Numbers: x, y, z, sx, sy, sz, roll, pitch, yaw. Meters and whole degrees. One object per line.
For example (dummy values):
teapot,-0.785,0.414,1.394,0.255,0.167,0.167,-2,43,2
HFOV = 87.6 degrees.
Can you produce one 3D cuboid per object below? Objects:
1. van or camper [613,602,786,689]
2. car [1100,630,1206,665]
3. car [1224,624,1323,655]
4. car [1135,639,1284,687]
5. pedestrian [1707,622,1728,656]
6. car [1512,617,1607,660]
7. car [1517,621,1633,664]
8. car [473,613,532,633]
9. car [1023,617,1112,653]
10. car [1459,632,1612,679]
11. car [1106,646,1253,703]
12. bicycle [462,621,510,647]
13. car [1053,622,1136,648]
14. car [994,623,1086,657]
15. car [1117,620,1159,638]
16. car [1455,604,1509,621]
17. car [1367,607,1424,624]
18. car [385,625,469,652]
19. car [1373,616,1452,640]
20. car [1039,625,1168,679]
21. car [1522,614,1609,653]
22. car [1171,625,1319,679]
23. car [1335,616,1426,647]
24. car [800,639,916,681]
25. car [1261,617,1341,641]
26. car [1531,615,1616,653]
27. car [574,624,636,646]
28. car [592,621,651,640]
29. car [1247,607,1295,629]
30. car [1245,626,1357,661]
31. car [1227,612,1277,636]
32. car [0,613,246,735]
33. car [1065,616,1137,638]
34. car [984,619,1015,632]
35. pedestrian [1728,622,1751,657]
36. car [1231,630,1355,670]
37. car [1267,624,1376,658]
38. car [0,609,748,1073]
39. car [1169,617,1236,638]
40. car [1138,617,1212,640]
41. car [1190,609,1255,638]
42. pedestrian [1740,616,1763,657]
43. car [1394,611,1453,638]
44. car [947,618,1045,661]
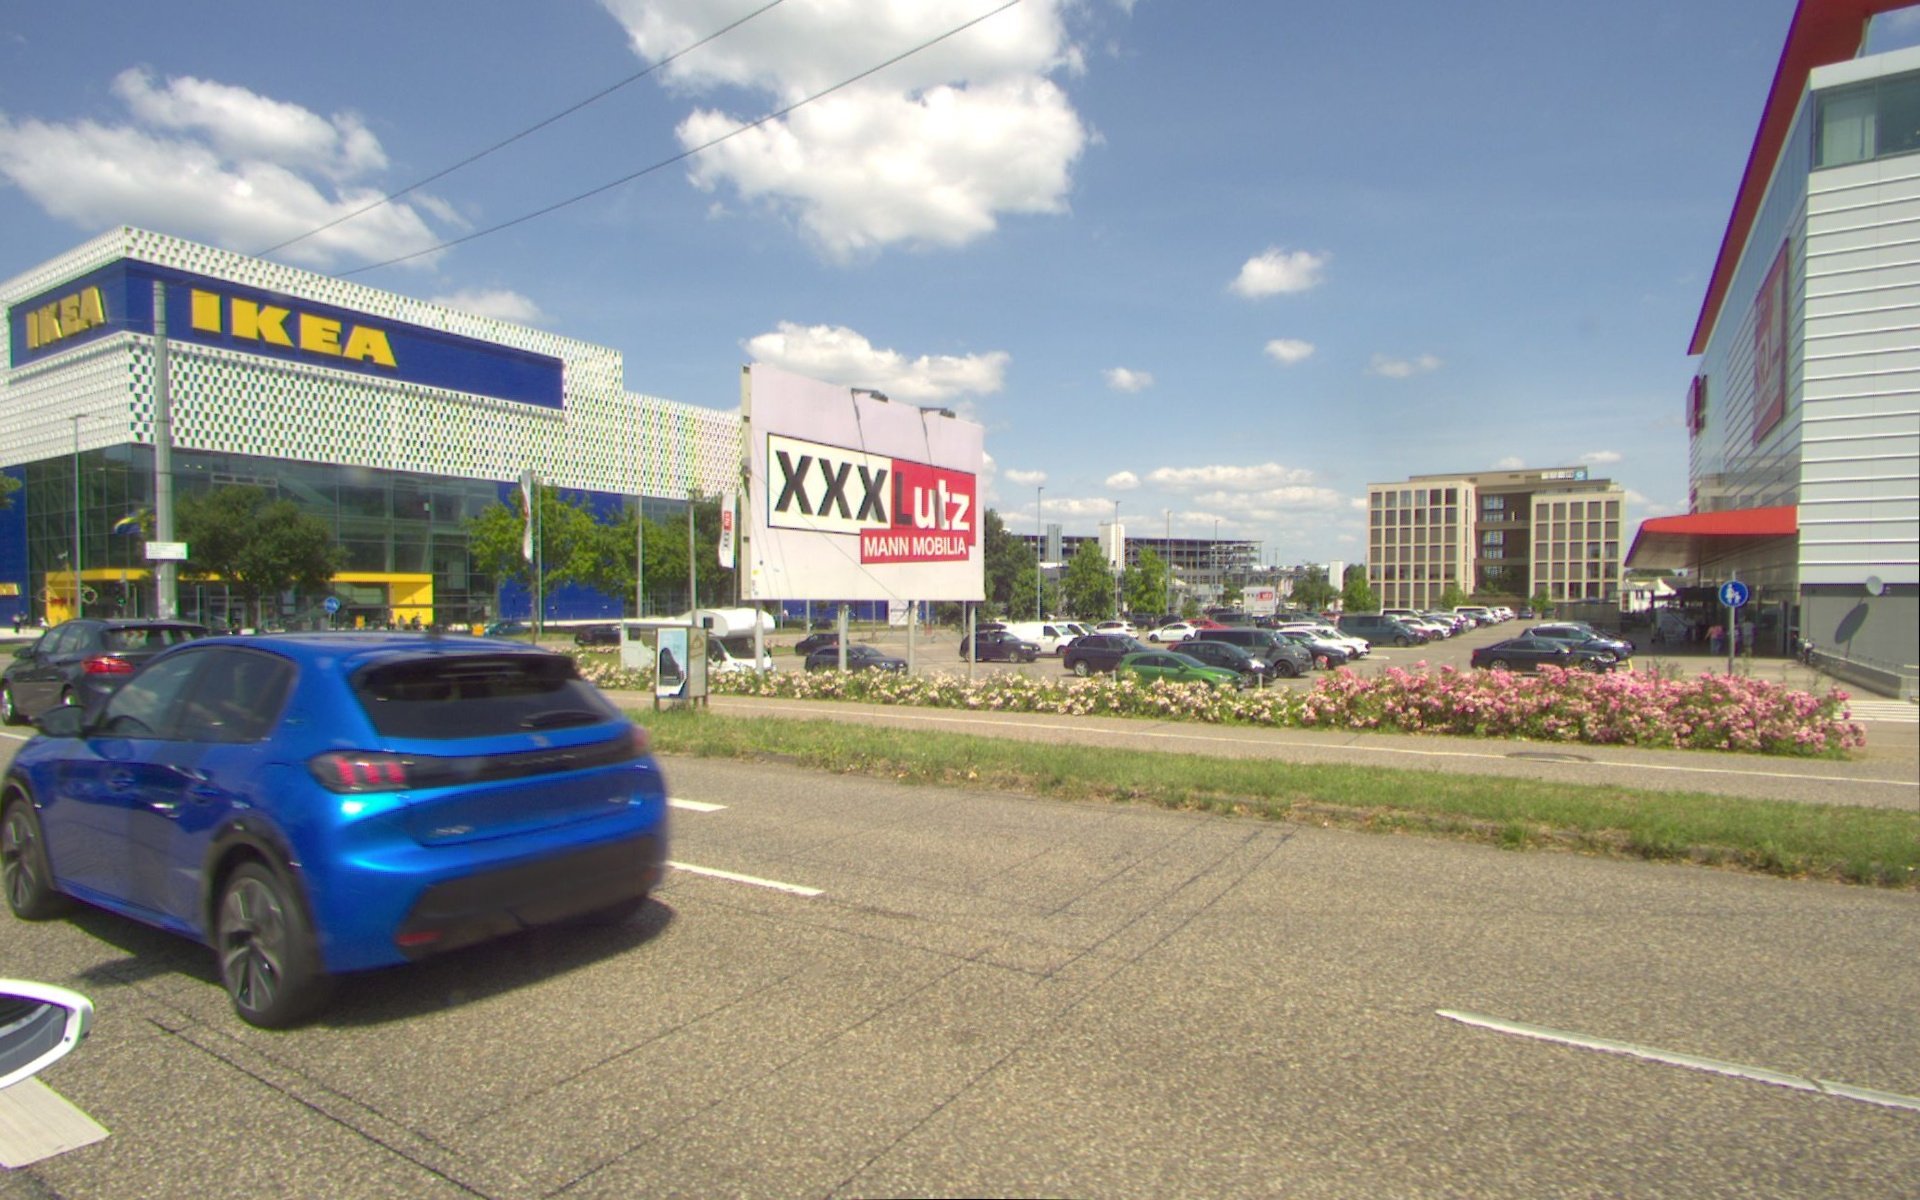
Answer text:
van or camper,-10.034,1.650,38.227,7.129,3.059,2.499,-1,-1,36
car,9.800,2.379,51.007,4.929,1.632,1.989,0,0,33
car,17.410,2.175,55.612,4.928,1.631,1.990,0,-1,32
car,9.090,2.245,36.611,4.929,1.570,1.990,0,-1,33
pedestrian,36.004,1.839,47.602,0.725,1.578,0.739,0,-1,30
car,29.398,1.856,49.178,3.943,2.040,1.990,-1,-1,32
car,27.086,1.858,44.223,4.271,1.804,1.990,0,-2,33
car,-36.575,1.829,80.132,1.974,1.505,3.779,0,-2,36
car,6.361,2.045,59.512,4.929,2.033,1.990,0,-1,33
car,21.919,2.067,38.247,4.929,1.631,1.990,0,-1,33
car,7.103,2.366,32.447,4.242,1.517,1.988,0,2,33
bicycle,-27.929,1.984,59.030,0.976,1.500,2.415,0,-1,37
car,8.558,2.216,63.938,4.929,1.631,1.990,0,-1,33
car,4.591,2.252,57.585,4.929,1.876,1.990,0,-1,33
car,18.494,3.037,104.341,3.943,1.863,1.819,-1,-1,32
car,54.348,1.316,104.265,4.929,1.631,1.990,0,-1,33
car,43.196,1.515,99.389,4.929,1.631,1.990,0,-1,33
car,-31.760,2.314,59.765,1.966,1.505,4.158,0,-2,22
car,32.350,1.981,71.591,4.929,1.631,1.990,0,-1,33
car,5.949,2.089,41.684,4.929,2.041,1.989,0,1,33
car,32.427,1.768,53.675,3.943,2.040,1.990,0,-1,32
car,11.558,2.035,40.729,5.456,2.040,1.990,0,-1,33
car,26.608,1.950,63.403,5.106,1.889,1.991,0,-1,31
car,-4.376,2.514,42.781,4.701,1.558,1.989,0,1,33
car,23.506,1.992,69.173,4.929,1.631,1.990,0,-1,33
car,34.083,1.849,55.716,3.943,2.040,1.990,-1,-1,32
car,-25.300,2.486,71.406,1.712,1.508,3.977,0,-1,34
car,-29.089,2.645,86.076,1.973,1.505,4.486,0,-2,36
car,29.168,1.667,93.843,3.943,2.040,1.990,-1,-1,32
car,16.736,2.106,49.227,4.929,1.631,1.990,0,-1,33
car,26.246,2.154,90.116,3.943,2.040,1.990,-1,-1,32
car,-12.247,0.962,14.533,4.042,1.546,1.757,0,-1,33
car,10.424,1.979,74.081,4.921,1.631,1.993,0,-1,27
car,4.857,3.208,123.712,1.970,1.505,4.371,0,-2,31
pedestrian,36.123,1.821,46.418,0.725,1.578,0.739,0,-1,30
car,14.841,2.180,44.720,4.929,1.631,1.990,0,-1,33
car,18.529,2.075,51.391,4.929,1.672,1.990,0,-1,33
car,-3.166,0.815,5.055,3.943,1.473,1.834,0,-2,33
car,19.423,2.224,80.289,4.929,1.631,1.990,0,-1,33
car,15.844,2.071,73.821,4.929,1.631,1.990,0,-1,33
car,22.086,1.979,84.368,4.929,2.333,1.990,0,-1,33
pedestrian,37.128,1.700,46.964,0.725,1.893,0.739,0,-1,30
car,36.242,1.898,78.313,3.943,2.040,1.990,-1,-1,32
car,1.894,2.069,53.471,4.929,2.162,1.990,0,-1,33
